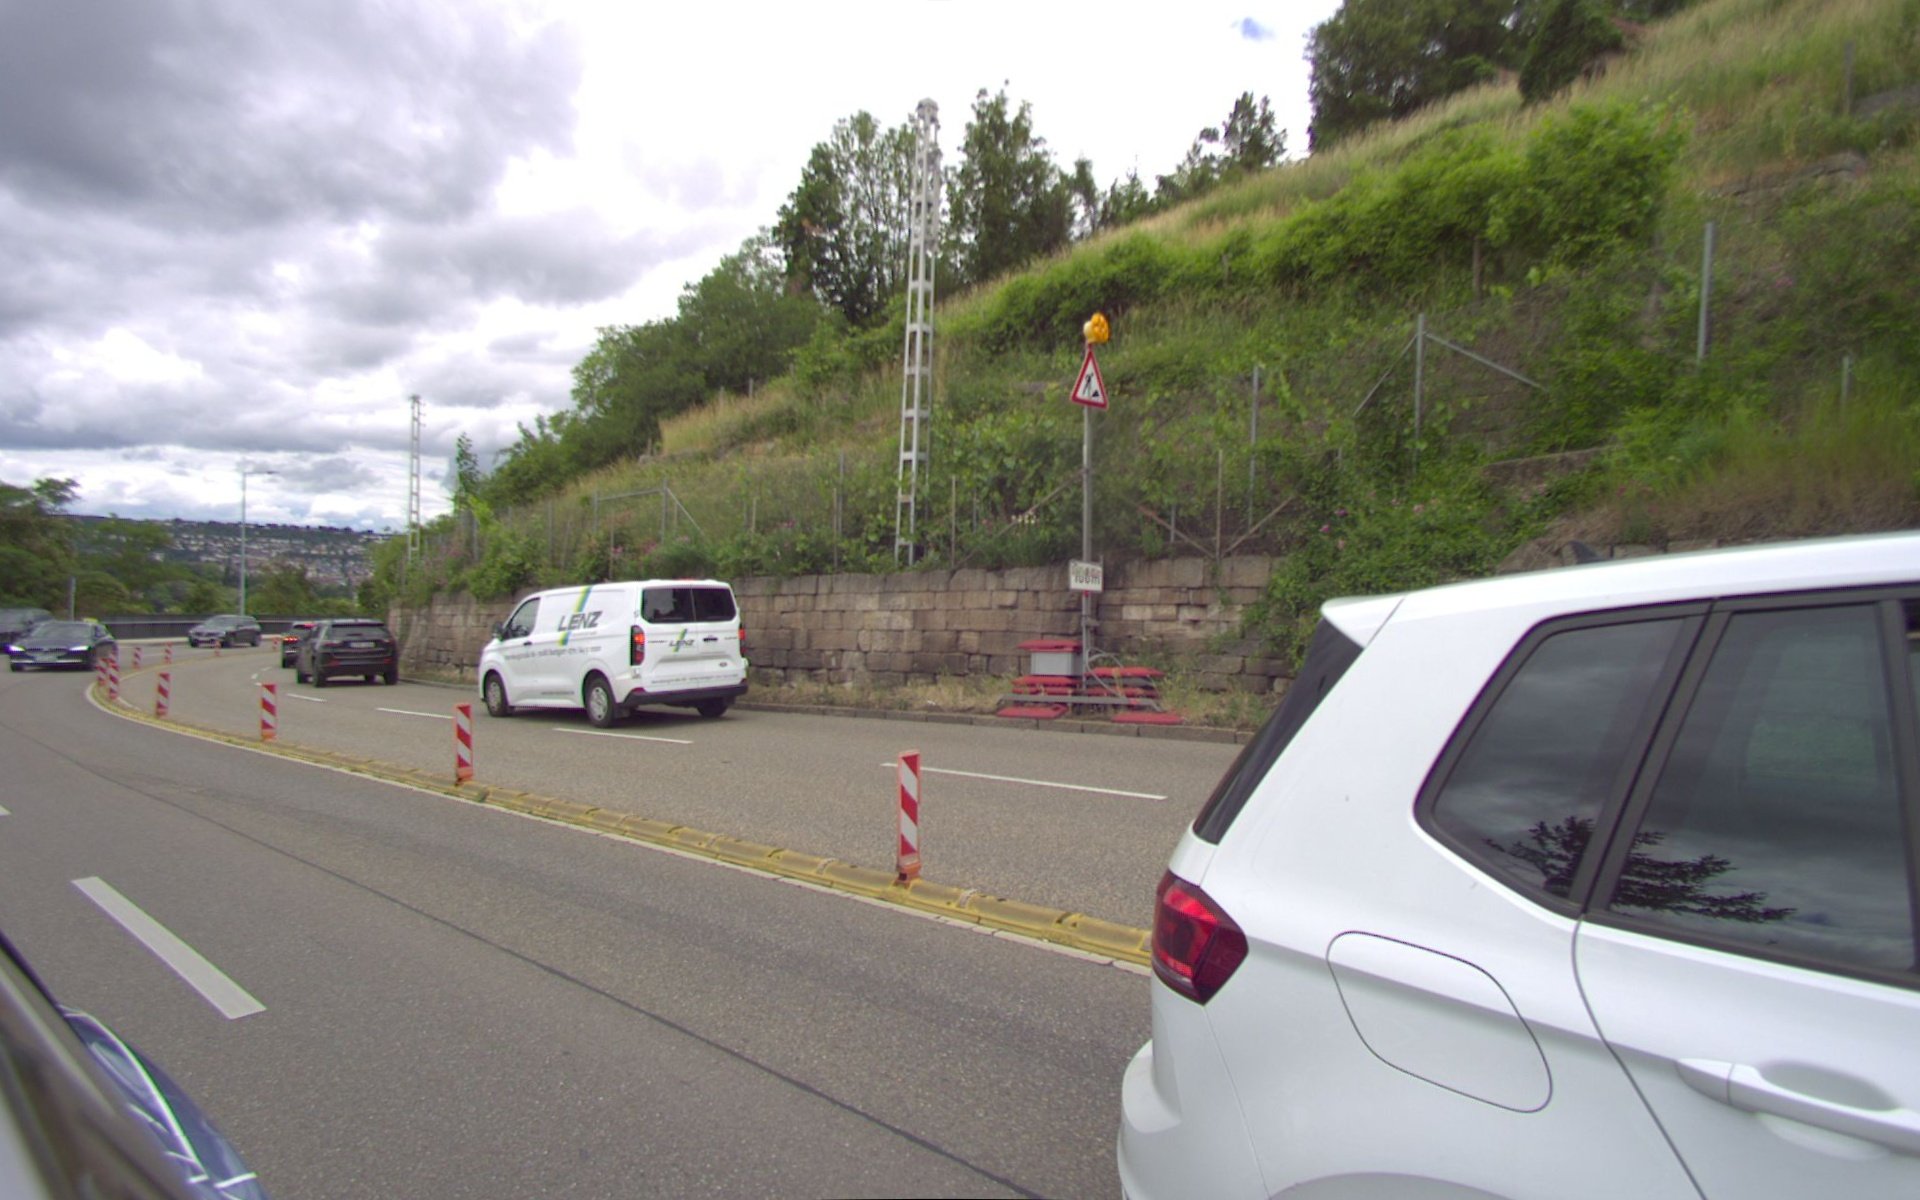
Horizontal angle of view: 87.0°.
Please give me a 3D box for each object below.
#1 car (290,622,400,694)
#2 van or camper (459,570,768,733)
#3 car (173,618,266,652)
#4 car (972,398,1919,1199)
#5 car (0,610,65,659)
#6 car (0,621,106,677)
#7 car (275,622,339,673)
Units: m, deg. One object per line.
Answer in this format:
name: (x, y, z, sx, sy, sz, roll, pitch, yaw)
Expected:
car: (-15.694, 1.387, 25.716, 1.841, 1.636, 4.356, 0, -1, -39)
van or camper: (-5.269, 0.724, 15.024, 4.960, 2.032, 2.125, -2, -2, 41)
car: (-38.320, 1.806, 52.554, 1.968, 1.684, 4.545, 0, -1, -8)
car: (2.236, 0.590, 0.776, 4.355, 1.592, 1.801, -2, -1, 43)
car: (-37.948, 1.332, 40.189, 1.965, 1.731, 5.066, 4, -2, -22)
car: (-27.181, 1.423, 30.368, 1.870, 1.505, 4.152, 2, -2, -34)
car: (-23.673, 1.684, 36.791, 1.817, 1.739, 4.476, 2, -2, -32)
